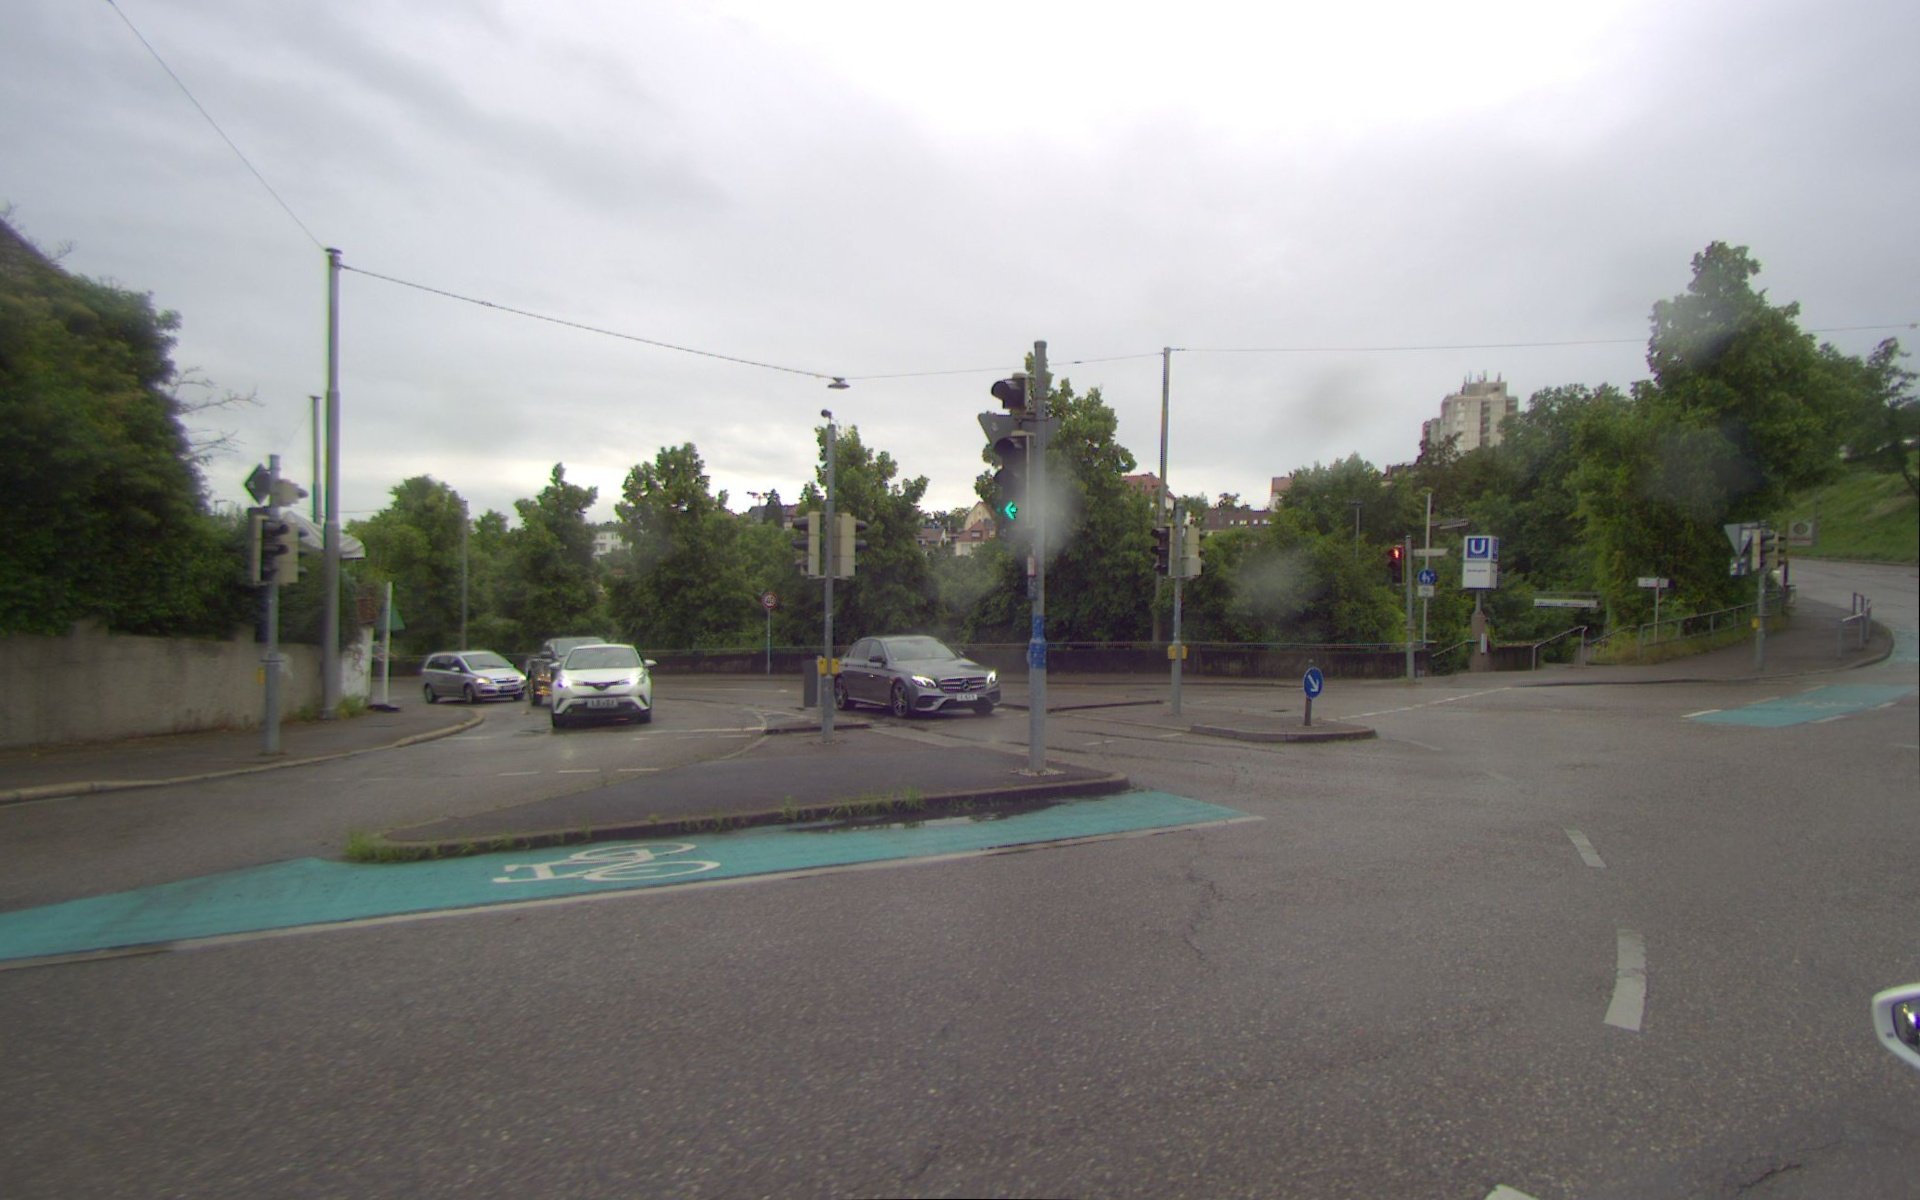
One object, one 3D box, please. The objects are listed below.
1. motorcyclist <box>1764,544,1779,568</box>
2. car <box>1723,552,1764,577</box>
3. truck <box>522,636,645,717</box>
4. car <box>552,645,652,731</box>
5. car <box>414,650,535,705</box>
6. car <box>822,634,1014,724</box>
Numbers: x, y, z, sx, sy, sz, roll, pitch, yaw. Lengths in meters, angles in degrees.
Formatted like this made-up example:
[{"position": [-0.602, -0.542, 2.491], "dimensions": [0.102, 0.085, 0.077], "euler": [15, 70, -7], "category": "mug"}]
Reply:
[{"position": [66.346, -3.592, 82.114], "dimensions": [0.872, 1.899, 1.249], "euler": [0, 3, 37], "category": "motorcyclist"}, {"position": [57.939, -2.626, 74.312], "dimensions": [1.809, 1.714, 3.991], "euler": [-1, 3, 30], "category": "car"}, {"position": [-10.104, 1.941, 26.667], "dimensions": [1.869, 1.873, 5.230], "euler": [0, -2, -34], "category": "truck"}, {"position": [-7.094, 1.653, 19.972], "dimensions": [1.686, 1.486, 4.242], "euler": [0, -2, -20], "category": "car"}, {"position": [-15.522, 2.483, 32.018], "dimensions": [4.392, 1.605, 1.709], "euler": [-4, -3, 38], "category": "car"}, {"position": [-0.955, 1.421, 19.228], "dimensions": [1.841, 1.413, 4.564], "euler": [-2, -1, -28], "category": "car"}]
